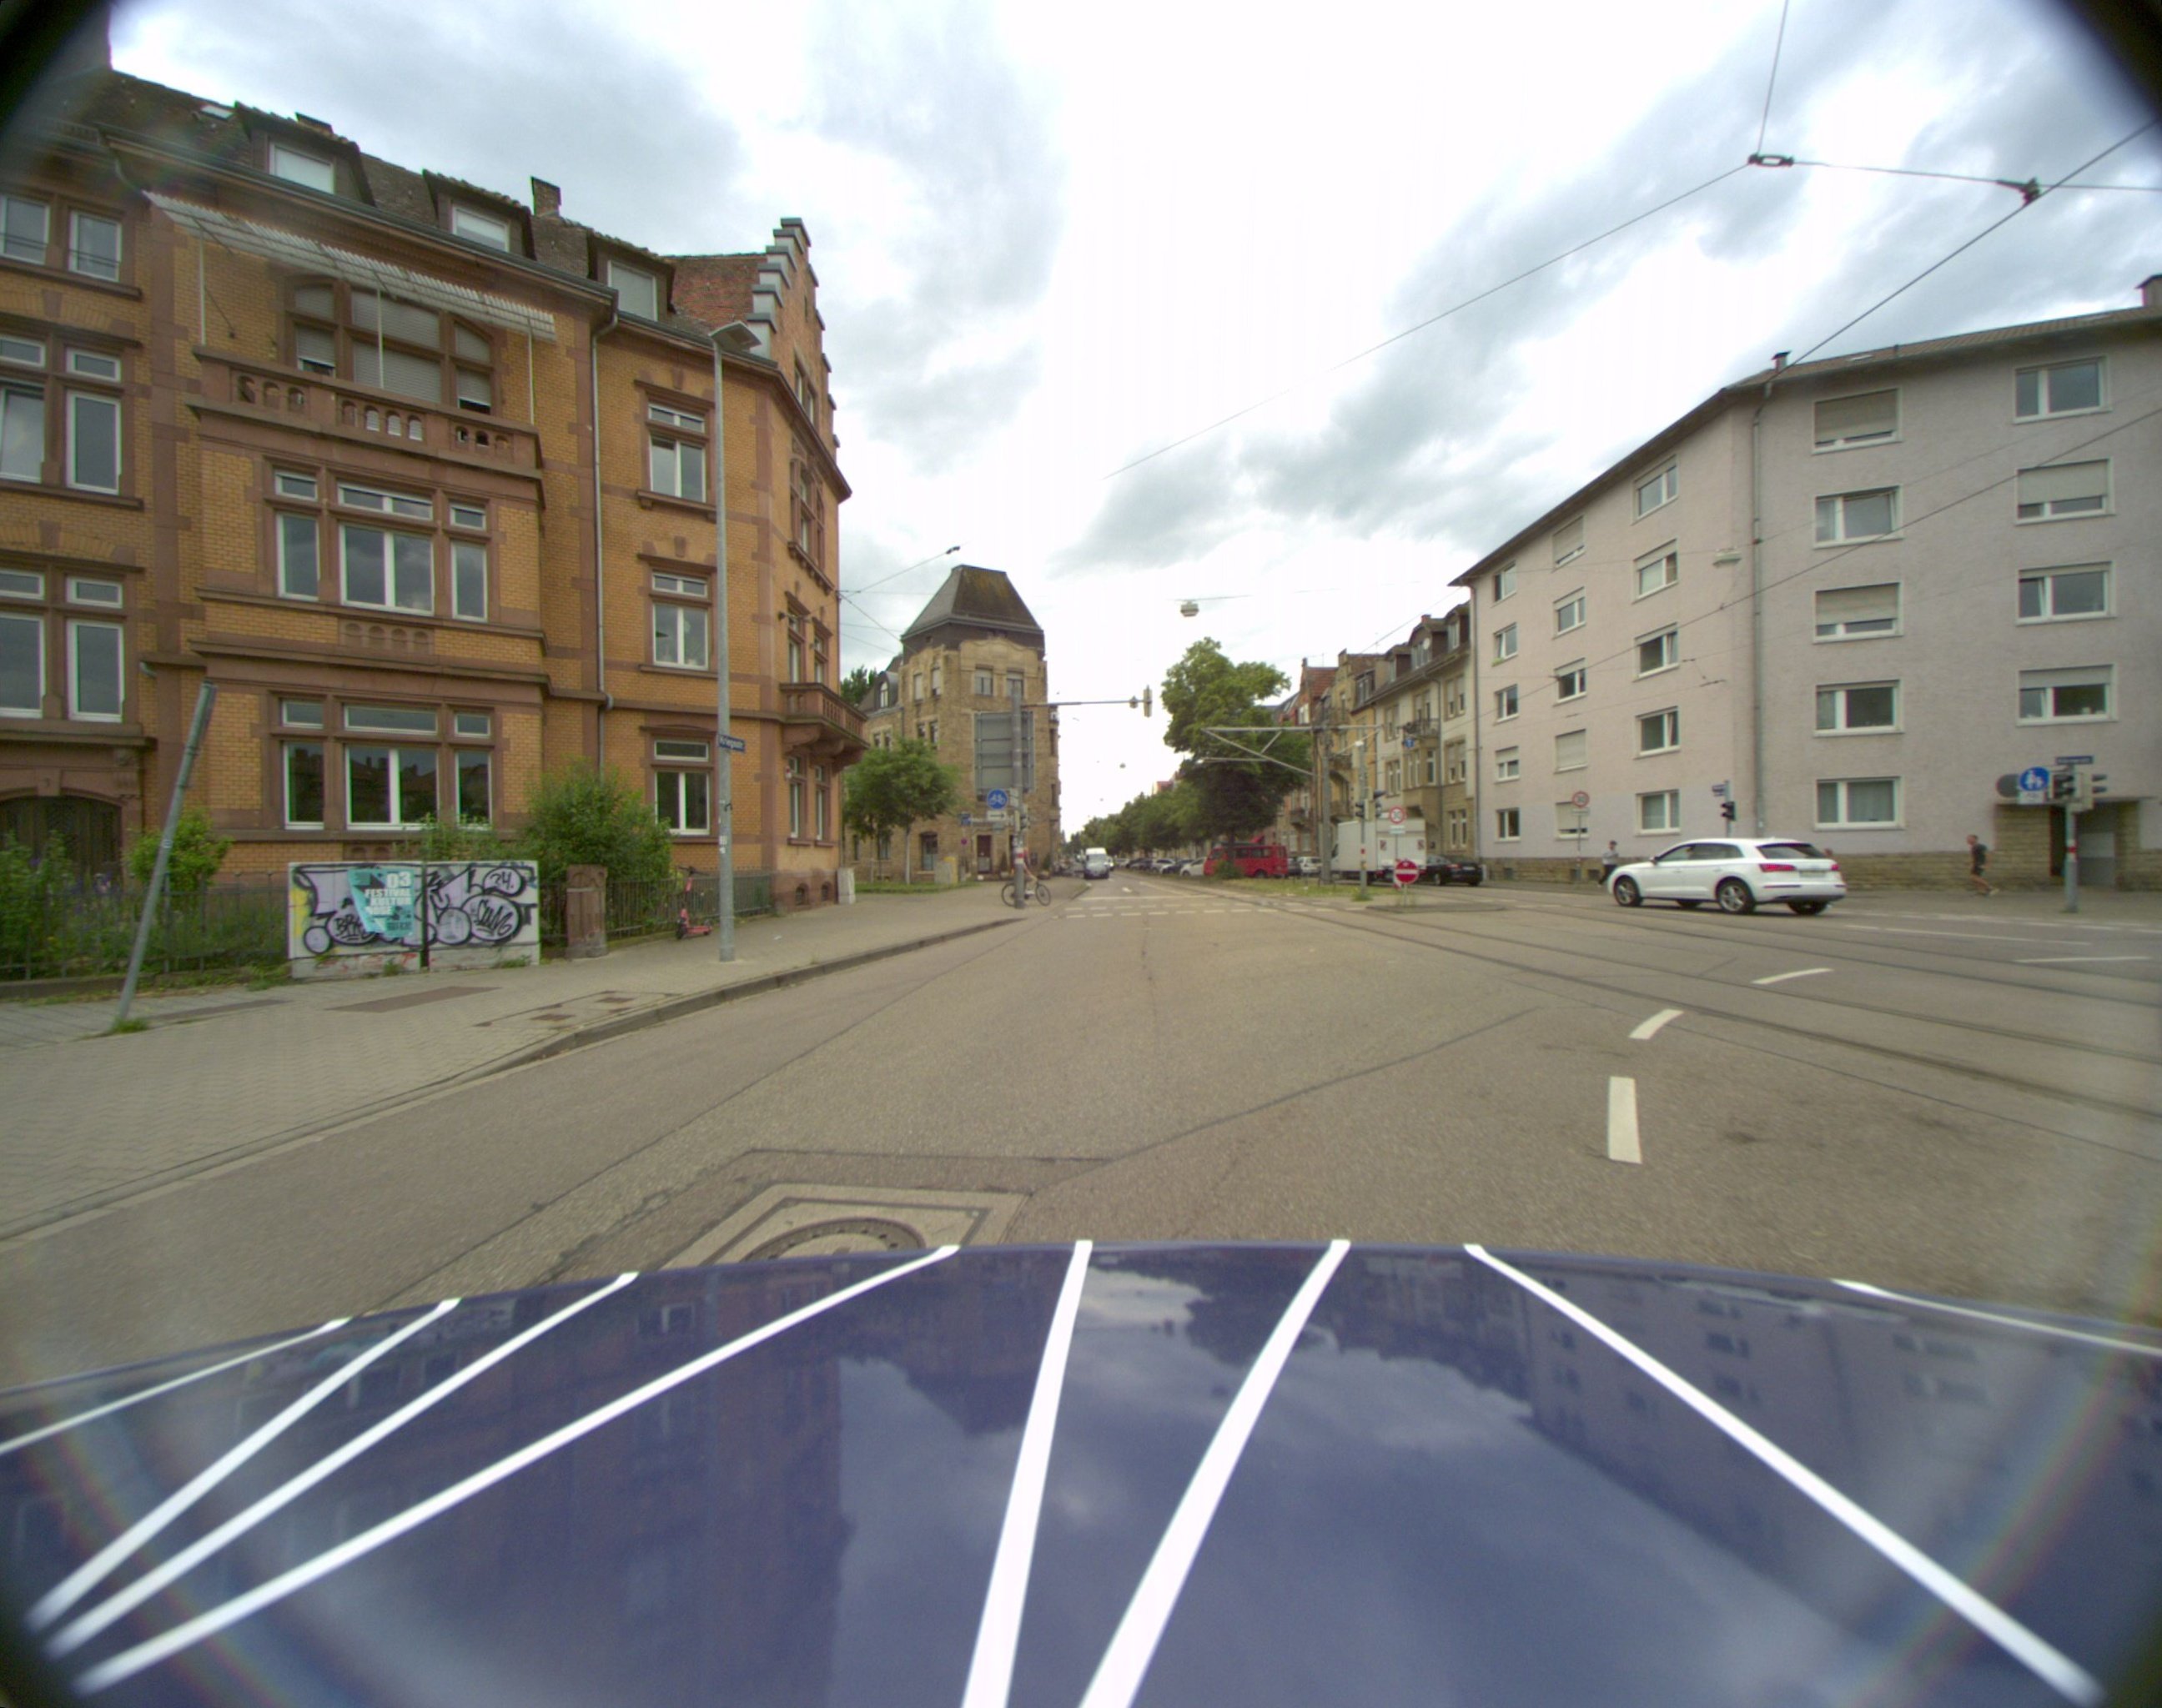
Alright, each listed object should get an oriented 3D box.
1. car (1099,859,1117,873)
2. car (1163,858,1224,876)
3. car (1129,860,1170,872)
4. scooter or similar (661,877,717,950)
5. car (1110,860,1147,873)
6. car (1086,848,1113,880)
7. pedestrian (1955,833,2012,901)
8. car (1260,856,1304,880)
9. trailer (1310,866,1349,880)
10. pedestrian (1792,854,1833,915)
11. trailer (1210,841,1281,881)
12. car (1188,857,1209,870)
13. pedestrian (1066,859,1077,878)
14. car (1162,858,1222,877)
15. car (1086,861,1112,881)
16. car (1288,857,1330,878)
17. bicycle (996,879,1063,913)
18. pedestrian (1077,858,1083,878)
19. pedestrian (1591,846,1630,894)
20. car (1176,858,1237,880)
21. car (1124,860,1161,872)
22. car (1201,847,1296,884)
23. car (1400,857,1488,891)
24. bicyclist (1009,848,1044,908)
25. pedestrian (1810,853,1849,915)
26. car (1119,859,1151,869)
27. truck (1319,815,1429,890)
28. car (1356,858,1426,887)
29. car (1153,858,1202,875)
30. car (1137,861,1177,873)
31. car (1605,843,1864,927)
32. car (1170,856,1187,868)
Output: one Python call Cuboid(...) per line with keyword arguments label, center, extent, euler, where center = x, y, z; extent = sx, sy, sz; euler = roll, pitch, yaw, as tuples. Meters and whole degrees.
Cuboid(label="car", center=(3.311, 1.452, 95.190), extent=(1.829, 1.661, 5.043), euler=(-2, 0, -2))
Cuboid(label="car", center=(9.304, 1.090, 63.198), extent=(4.675, 1.426, 1.903), euler=(-1, 0, 38))
Cuboid(label="car", center=(7.945, 1.431, 88.426), extent=(4.655, 1.360, 1.761), euler=(-2, 0, 41))
Cuboid(label="scooter or similar", center=(-6.597, 0.976, 12.834), extent=(0.377, 1.134, 1.199), euler=(-1, 0, -4))
Cuboid(label="car", center=(6.053, 1.572, 96.440), extent=(4.520, 1.623, 1.769), euler=(-1, 0, 43))
Cuboid(label="car", center=(1.565, 0.862, 66.296), extent=(2.018, 2.533, 7.016), euler=(-3, 0, -1))
Cuboid(label="pedestrian", center=(24.445, 0.356, 20.597), extent=(0.721, 1.802, 0.684), euler=(-1, 0, 14))
Cuboid(label="car", center=(13.314, 0.915, 50.583), extent=(1.648, 1.525, 4.131), euler=(-1, 0, -3))
Cuboid(label="trailer", center=(16.611, 1.257, 50.858), extent=(1.458, 0.887, 3.076), euler=(0, 0, -3))
Cuboid(label="pedestrian", center=(18.988, 0.782, 19.727), extent=(0.570, 1.548, 0.534), euler=(-1, 0, 10))
Cuboid(label="trailer", center=(9.871, 0.448, 45.610), extent=(3.661, 2.330, 1.935), euler=(-1, 0, 31))
Cuboid(label="car", center=(15.172, 1.251, 98.224), extent=(1.773, 1.619, 4.319), euler=(-1, 0, -2))
Cuboid(label="pedestrian", center=(-0.844, 1.252, 66.410), extent=(0.866, 1.690, 0.537), euler=(1, 0, -15))
Cuboid(label="car", center=(8.685, 1.093, 59.542), extent=(4.328, 1.426, 1.903), euler=(-1, 0, 41))
Cuboid(label="car", center=(1.358, 1.333, 59.889), extent=(1.828, 1.441, 5.006), euler=(-2, 0, 0))
Cuboid(label="car", center=(16.612, 0.997, 55.535), extent=(1.639, 1.434, 3.923), euler=(-1, 0, -3))
Cuboid(label="bicycle", center=(-1.569, 1.274, 23.198), extent=(1.871, 0.918, 0.794), euler=(-1, 0, -33))
Cuboid(label="pedestrian", center=(-0.106, 1.221, 67.444), extent=(0.500, 1.804, 0.803), euler=(1, 0, 0))
Cuboid(label="pedestrian", center=(19.652, 0.581, 28.225), extent=(0.800, 1.756, 0.900), euler=(-1, 0, -2))
Cuboid(label="car", center=(8.772, 1.047, 53.279), extent=(3.852, 1.454, 1.693), euler=(-1, 0, 41))
Cuboid(label="car", center=(7.956, 1.605, 98.428), extent=(4.529, 1.481, 2.040), euler=(-1, 0, 43))
Cuboid(label="car", center=(9.277, 0.666, 42.293), extent=(4.754, 1.962, 1.964), euler=(-1, 0, 37))
Cuboid(label="car", center=(16.736, 0.876, 35.321), extent=(1.639, 1.434, 4.762), euler=(-1, 0, -3))
Cuboid(label="bicyclist", center=(-1.685, 0.720, 23.353), extent=(0.683, 1.784, 0.889), euler=(-2, 0, -33))
Cuboid(label="pedestrian", center=(19.203, 0.749, 19.485), extent=(0.534, 1.548, 0.569), euler=(-1, 0, -28))
Cuboid(label="car", center=(7.500, 1.376, 106.063), extent=(4.118, 1.304, 1.867), euler=(-2, 0, 42))
Cuboid(label="truck", center=(13.534, -0.076, 35.796), extent=(2.190, 3.139, 7.331), euler=(-1, 0, -1))
Cuboid(label="car", center=(16.537, 0.935, 40.763), extent=(1.639, 1.434, 4.569), euler=(-1, 0, -3))
Cuboid(label="car", center=(8.941, 1.156, 70.674), extent=(4.106, 1.475, 1.801), euler=(-2, 0, 39))
Cuboid(label="car", center=(8.133, 1.384, 81.380), extent=(3.952, 1.195, 1.672), euler=(-2, 0, 42))
Cuboid(label="car", center=(14.570, 0.615, 17.382), extent=(1.775, 1.629, 4.535), euler=(-1, 0, -5))
Cuboid(label="car", center=(14.686, 1.193, 114.205), extent=(1.810, 1.670, 4.272), euler=(-1, 0, -2))
